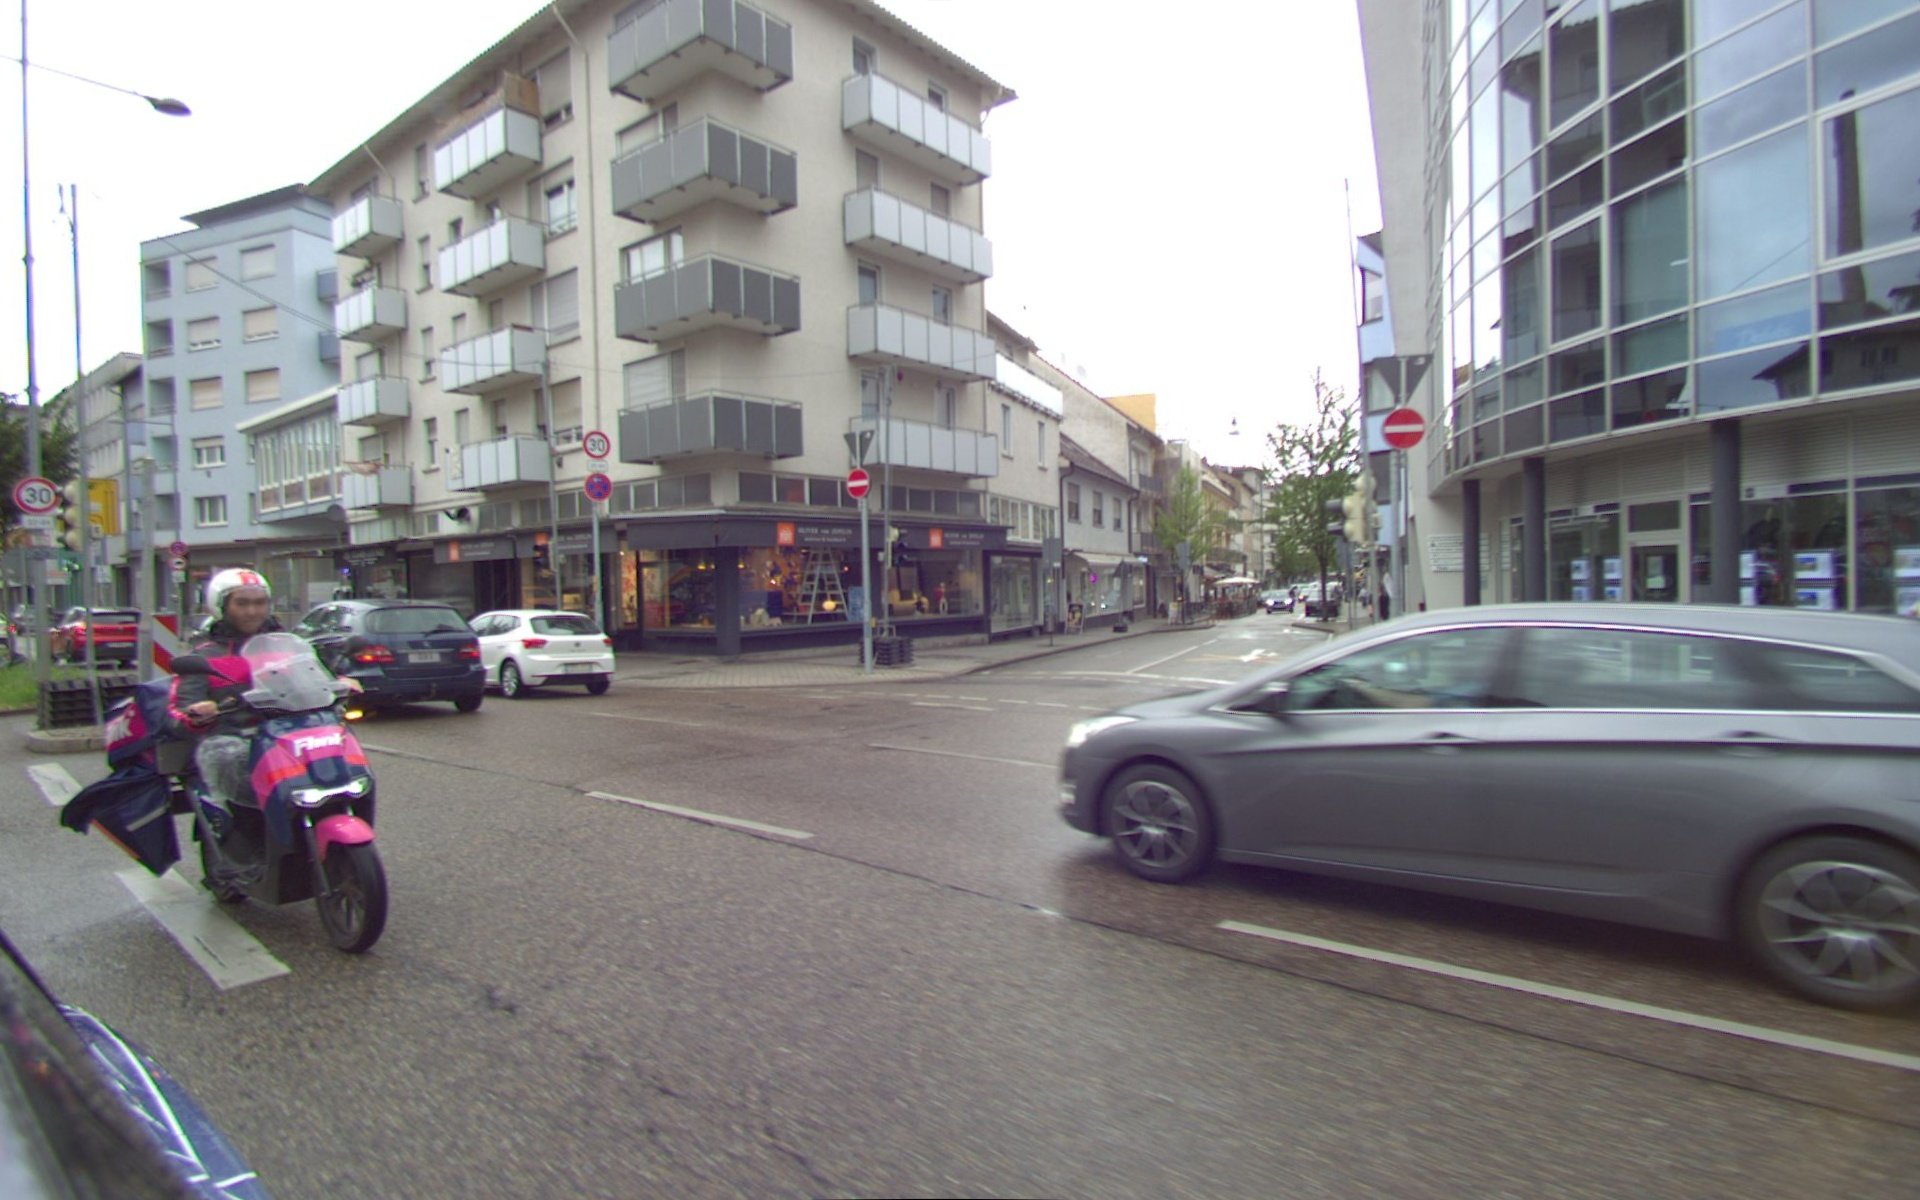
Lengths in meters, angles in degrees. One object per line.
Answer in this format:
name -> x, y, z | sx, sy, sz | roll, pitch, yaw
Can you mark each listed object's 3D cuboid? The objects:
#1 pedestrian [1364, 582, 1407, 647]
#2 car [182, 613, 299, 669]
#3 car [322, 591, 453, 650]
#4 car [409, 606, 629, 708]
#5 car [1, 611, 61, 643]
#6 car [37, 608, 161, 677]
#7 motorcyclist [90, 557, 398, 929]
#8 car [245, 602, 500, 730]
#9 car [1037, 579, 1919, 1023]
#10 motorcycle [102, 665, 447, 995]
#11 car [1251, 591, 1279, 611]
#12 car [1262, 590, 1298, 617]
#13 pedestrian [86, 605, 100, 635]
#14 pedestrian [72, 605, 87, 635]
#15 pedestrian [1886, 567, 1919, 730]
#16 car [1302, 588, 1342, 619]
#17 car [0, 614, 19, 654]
pedestrian -> 11.362, 0.383, 27.054 | 0.890, 1.665, 0.559 | -5, -2, 21
car -> -20.901, 1.139, 29.355 | 3.997, 1.508, 1.828 | -1, 0, 40
car -> -21.682, 0.726, 38.427 | 1.894, 2.070, 3.946 | -1, 0, 41
car -> -7.739, 0.904, 17.589 | 4.279, 1.535, 1.755 | -1, 0, 39
car -> -48.369, 1.393, 52.650 | 4.022, 1.601, 1.755 | -1, -2, 39
car -> -22.293, 1.039, 26.165 | 4.088, 1.606, 1.828 | -1, 0, 40
motorcyclist -> -3.319, 0.589, 4.721 | 0.862, 1.504, 0.907 | -3, -1, 34
car -> -8.483, 0.835, 14.459 | 4.280, 1.555, 1.811 | -1, 0, 40
car -> 2.799, 0.680, 4.913 | 4.643, 1.485, 1.834 | -1, 0, 39
motorcycle -> -3.238, 0.929, 4.692 | 2.096, 1.200, 0.582 | -2, -1, 34
car -> 27.037, 0.073, 89.669 | 1.987, 1.659, 3.970 | -1, 1, 22
car -> 21.508, 0.239, 67.916 | 1.987, 1.659, 3.970 | -1, 1, 22
pedestrian -> -49.653, 1.152, 57.930 | 0.531, 1.700, 0.506 | 1, 0, 40
pedestrian -> -50.022, 1.130, 57.486 | 0.531, 1.700, 0.520 | 1, 0, 40
pedestrian -> 9.924, 0.479, 10.140 | 0.616, 1.620, 0.834 | -1, 0, -37
car -> 21.393, 0.193, 59.789 | 1.987, 1.659, 3.969 | -1, 1, 23
car -> -36.139, 1.218, 36.930 | 4.607, 1.428, 1.828 | -1, -2, 37
